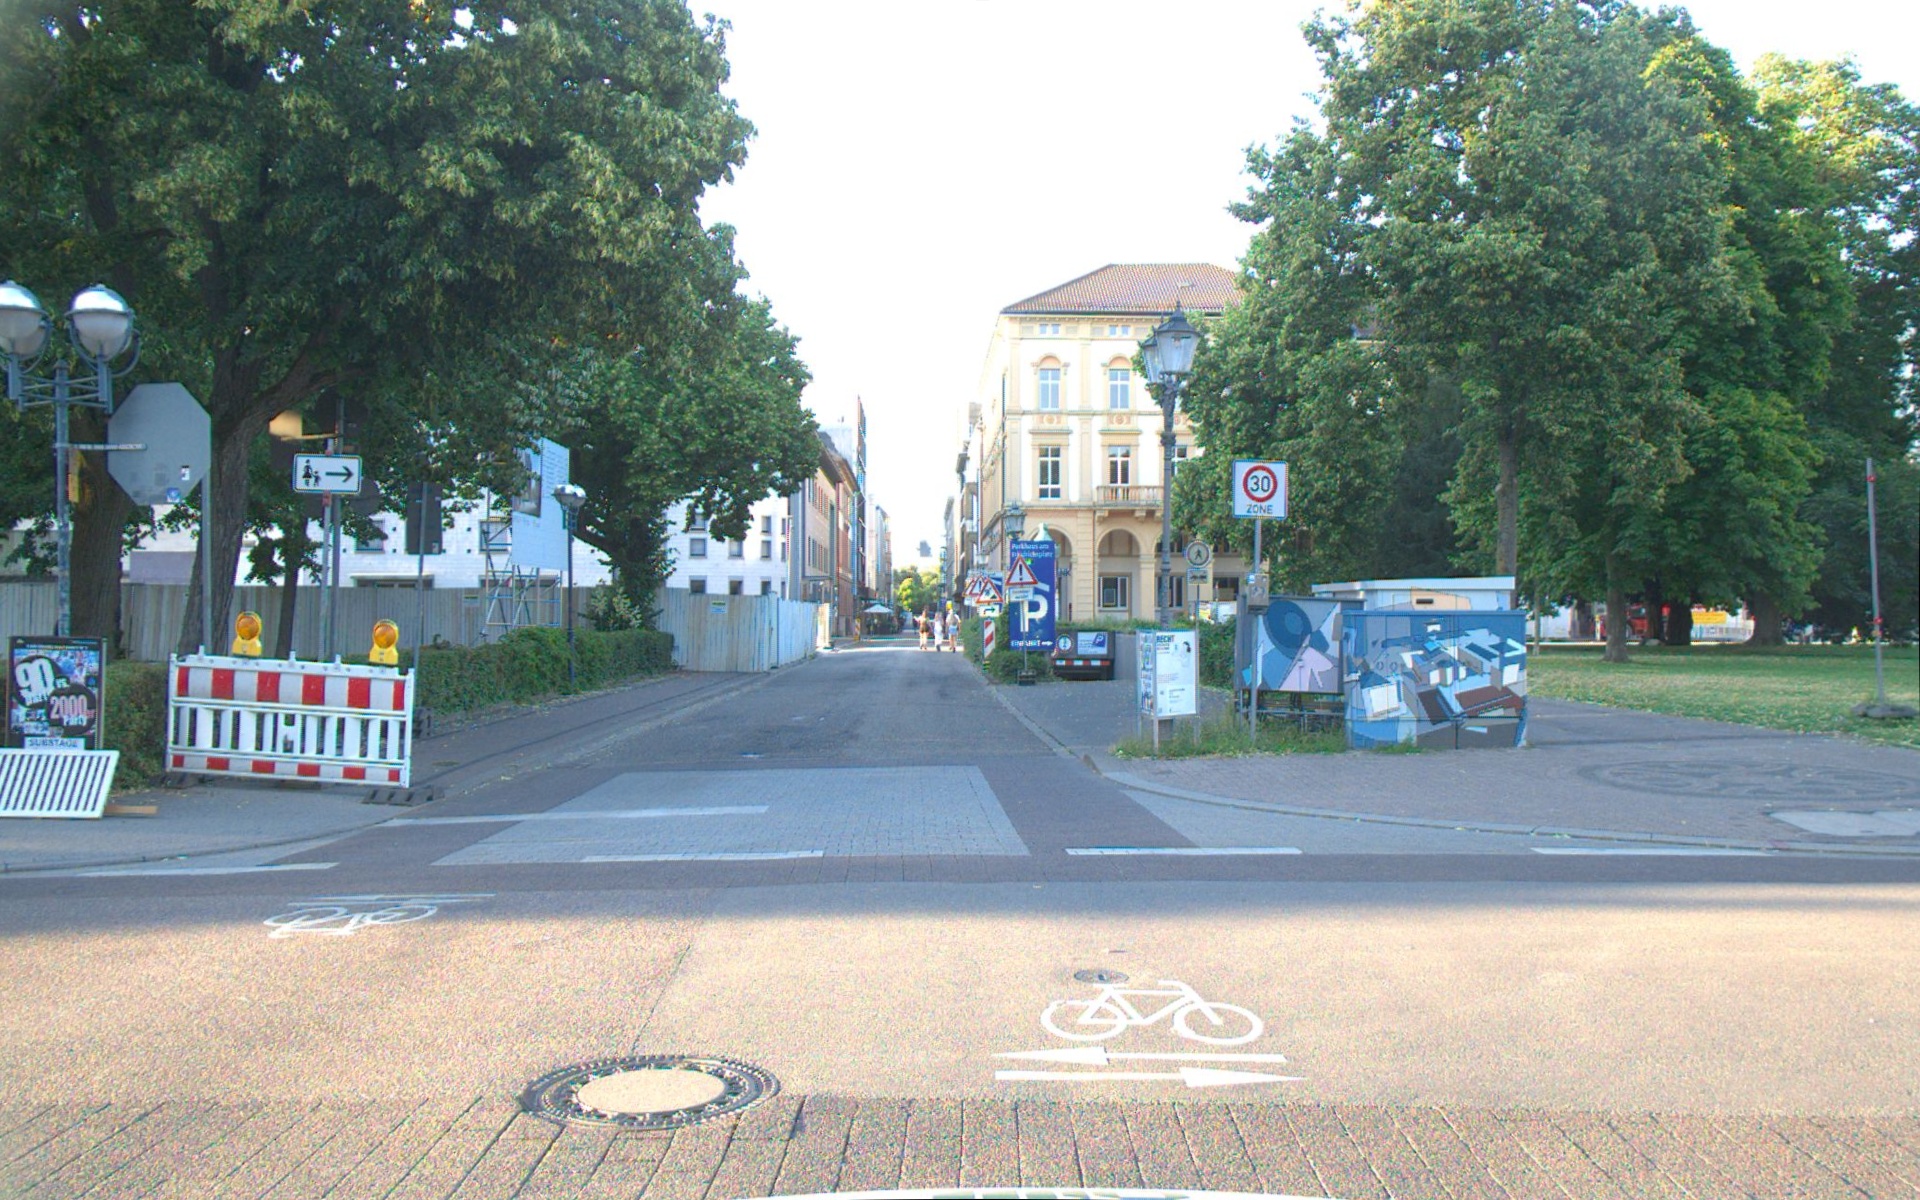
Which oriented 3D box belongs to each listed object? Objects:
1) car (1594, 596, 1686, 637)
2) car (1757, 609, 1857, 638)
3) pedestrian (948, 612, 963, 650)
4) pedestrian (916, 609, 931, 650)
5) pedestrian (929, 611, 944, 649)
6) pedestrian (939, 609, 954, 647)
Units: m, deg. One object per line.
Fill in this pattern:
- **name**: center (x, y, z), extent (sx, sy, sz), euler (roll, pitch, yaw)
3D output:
- **car**: center (35.385, 0.851, 86.170), extent (3.949, 2.049, 2.000), euler (-1, -1, 0)
- **car**: center (38.189, 1.045, 74.602), extent (3.506, 1.262, 1.996), euler (0, 0, -8)
- **pedestrian**: center (-0.203, 1.366, 72.245), extent (0.644, 1.645, 0.745), euler (-1, -1, -1)
- **pedestrian**: center (-1.608, 1.311, 73.365), extent (0.644, 1.790, 0.745), euler (-1, -1, -1)
- **pedestrian**: center (-1.027, 1.321, 72.315), extent (0.644, 1.645, 0.745), euler (-1, -1, -1)
- **pedestrian**: center (-0.607, 1.225, 73.311), extent (0.644, 1.664, 0.745), euler (-1, -1, -1)
